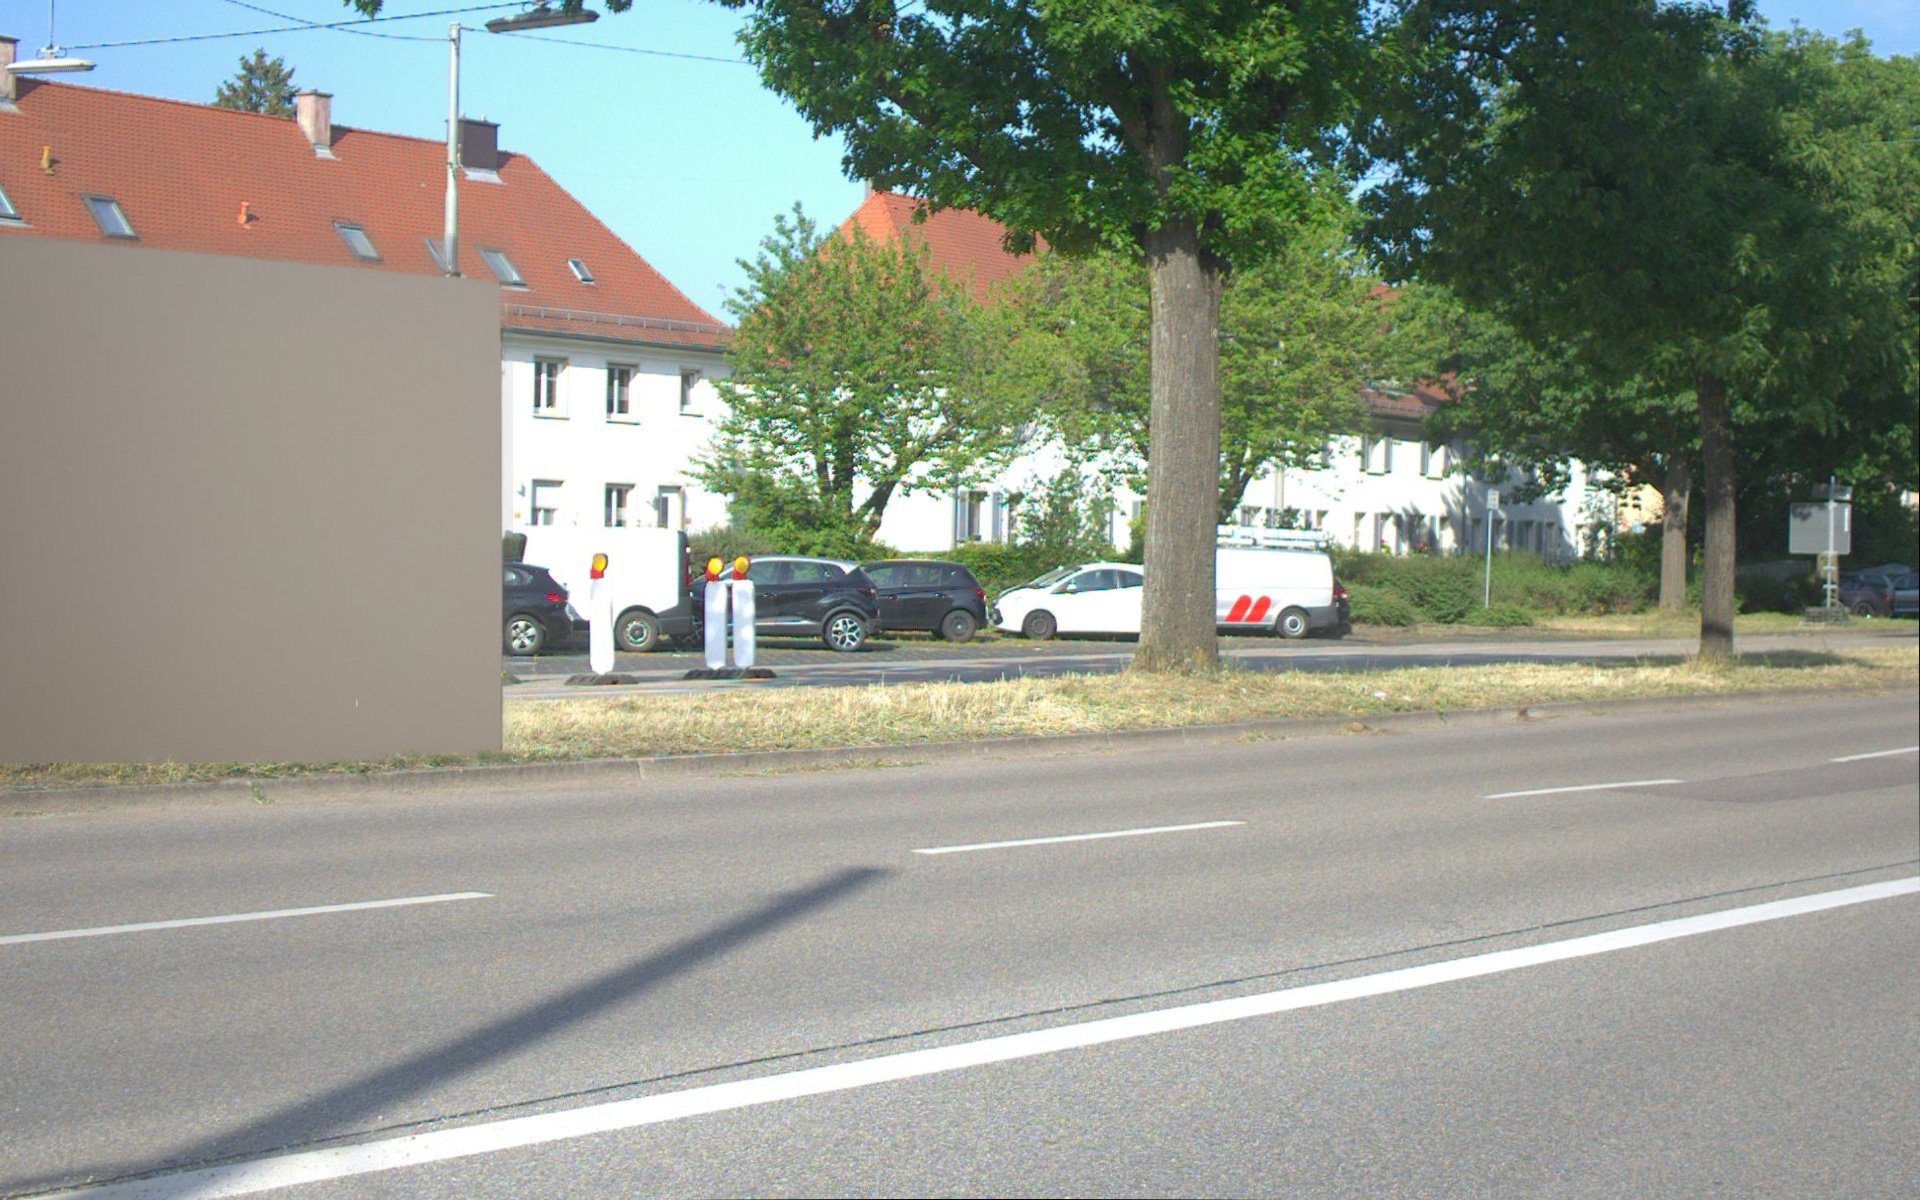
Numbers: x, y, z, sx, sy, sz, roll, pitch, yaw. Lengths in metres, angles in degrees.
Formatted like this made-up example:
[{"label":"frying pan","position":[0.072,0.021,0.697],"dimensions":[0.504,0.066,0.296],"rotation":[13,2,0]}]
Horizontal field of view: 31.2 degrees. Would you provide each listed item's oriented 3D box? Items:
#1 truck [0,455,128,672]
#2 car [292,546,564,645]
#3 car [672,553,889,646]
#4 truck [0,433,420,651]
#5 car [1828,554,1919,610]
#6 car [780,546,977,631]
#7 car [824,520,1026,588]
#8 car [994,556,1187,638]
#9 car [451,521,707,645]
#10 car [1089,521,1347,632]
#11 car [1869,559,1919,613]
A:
[{"label":"truck","position":[-13.499,-0.514,41.428],"dimensions":[6.336,2.515,2.278],"rotation":[2,1,0]},{"label":"car","position":[-8.104,-0.080,52.243],"dimensions":[3.895,1.451,1.897],"rotation":[0,1,-14]},{"label":"car","position":[-3.042,-0.021,57.767],"dimensions":[3.487,1.508,1.896],"rotation":[1,1,-7]},{"label":"truck","position":[-10.480,-0.777,46.844],"dimensions":[6.057,2.844,1.897],"rotation":[0,1,-12]},{"label":"car","position":[29.846,-0.550,108.078],"dimensions":[4.524,1.717,2.001],"rotation":[1,1,-9]},{"label":"car","position":[-1.516,-0.212,63.284],"dimensions":[3.421,1.508,1.896],"rotation":[1,1,-7]},{"label":"car","position":[-0.933,-1.209,89.338],"dimensions":[4.973,1.713,1.996],"rotation":[1,1,34]},{"label":"car","position":[2.482,-0.063,66.075],"dimensions":[3.421,1.508,1.896],"rotation":[1,1,-7]},{"label":"car","position":[-6.105,-0.274,54.925],"dimensions":[3.895,1.913,1.897],"rotation":[0,1,-11]},{"label":"car","position":[5.341,-0.496,71.338],"dimensions":[4.961,2.224,2.001],"rotation":[0,1,-11]},{"label":"car","position":[31.944,-0.444,111.114],"dimensions":[4.524,1.717,2.001],"rotation":[1,1,-9]}]
